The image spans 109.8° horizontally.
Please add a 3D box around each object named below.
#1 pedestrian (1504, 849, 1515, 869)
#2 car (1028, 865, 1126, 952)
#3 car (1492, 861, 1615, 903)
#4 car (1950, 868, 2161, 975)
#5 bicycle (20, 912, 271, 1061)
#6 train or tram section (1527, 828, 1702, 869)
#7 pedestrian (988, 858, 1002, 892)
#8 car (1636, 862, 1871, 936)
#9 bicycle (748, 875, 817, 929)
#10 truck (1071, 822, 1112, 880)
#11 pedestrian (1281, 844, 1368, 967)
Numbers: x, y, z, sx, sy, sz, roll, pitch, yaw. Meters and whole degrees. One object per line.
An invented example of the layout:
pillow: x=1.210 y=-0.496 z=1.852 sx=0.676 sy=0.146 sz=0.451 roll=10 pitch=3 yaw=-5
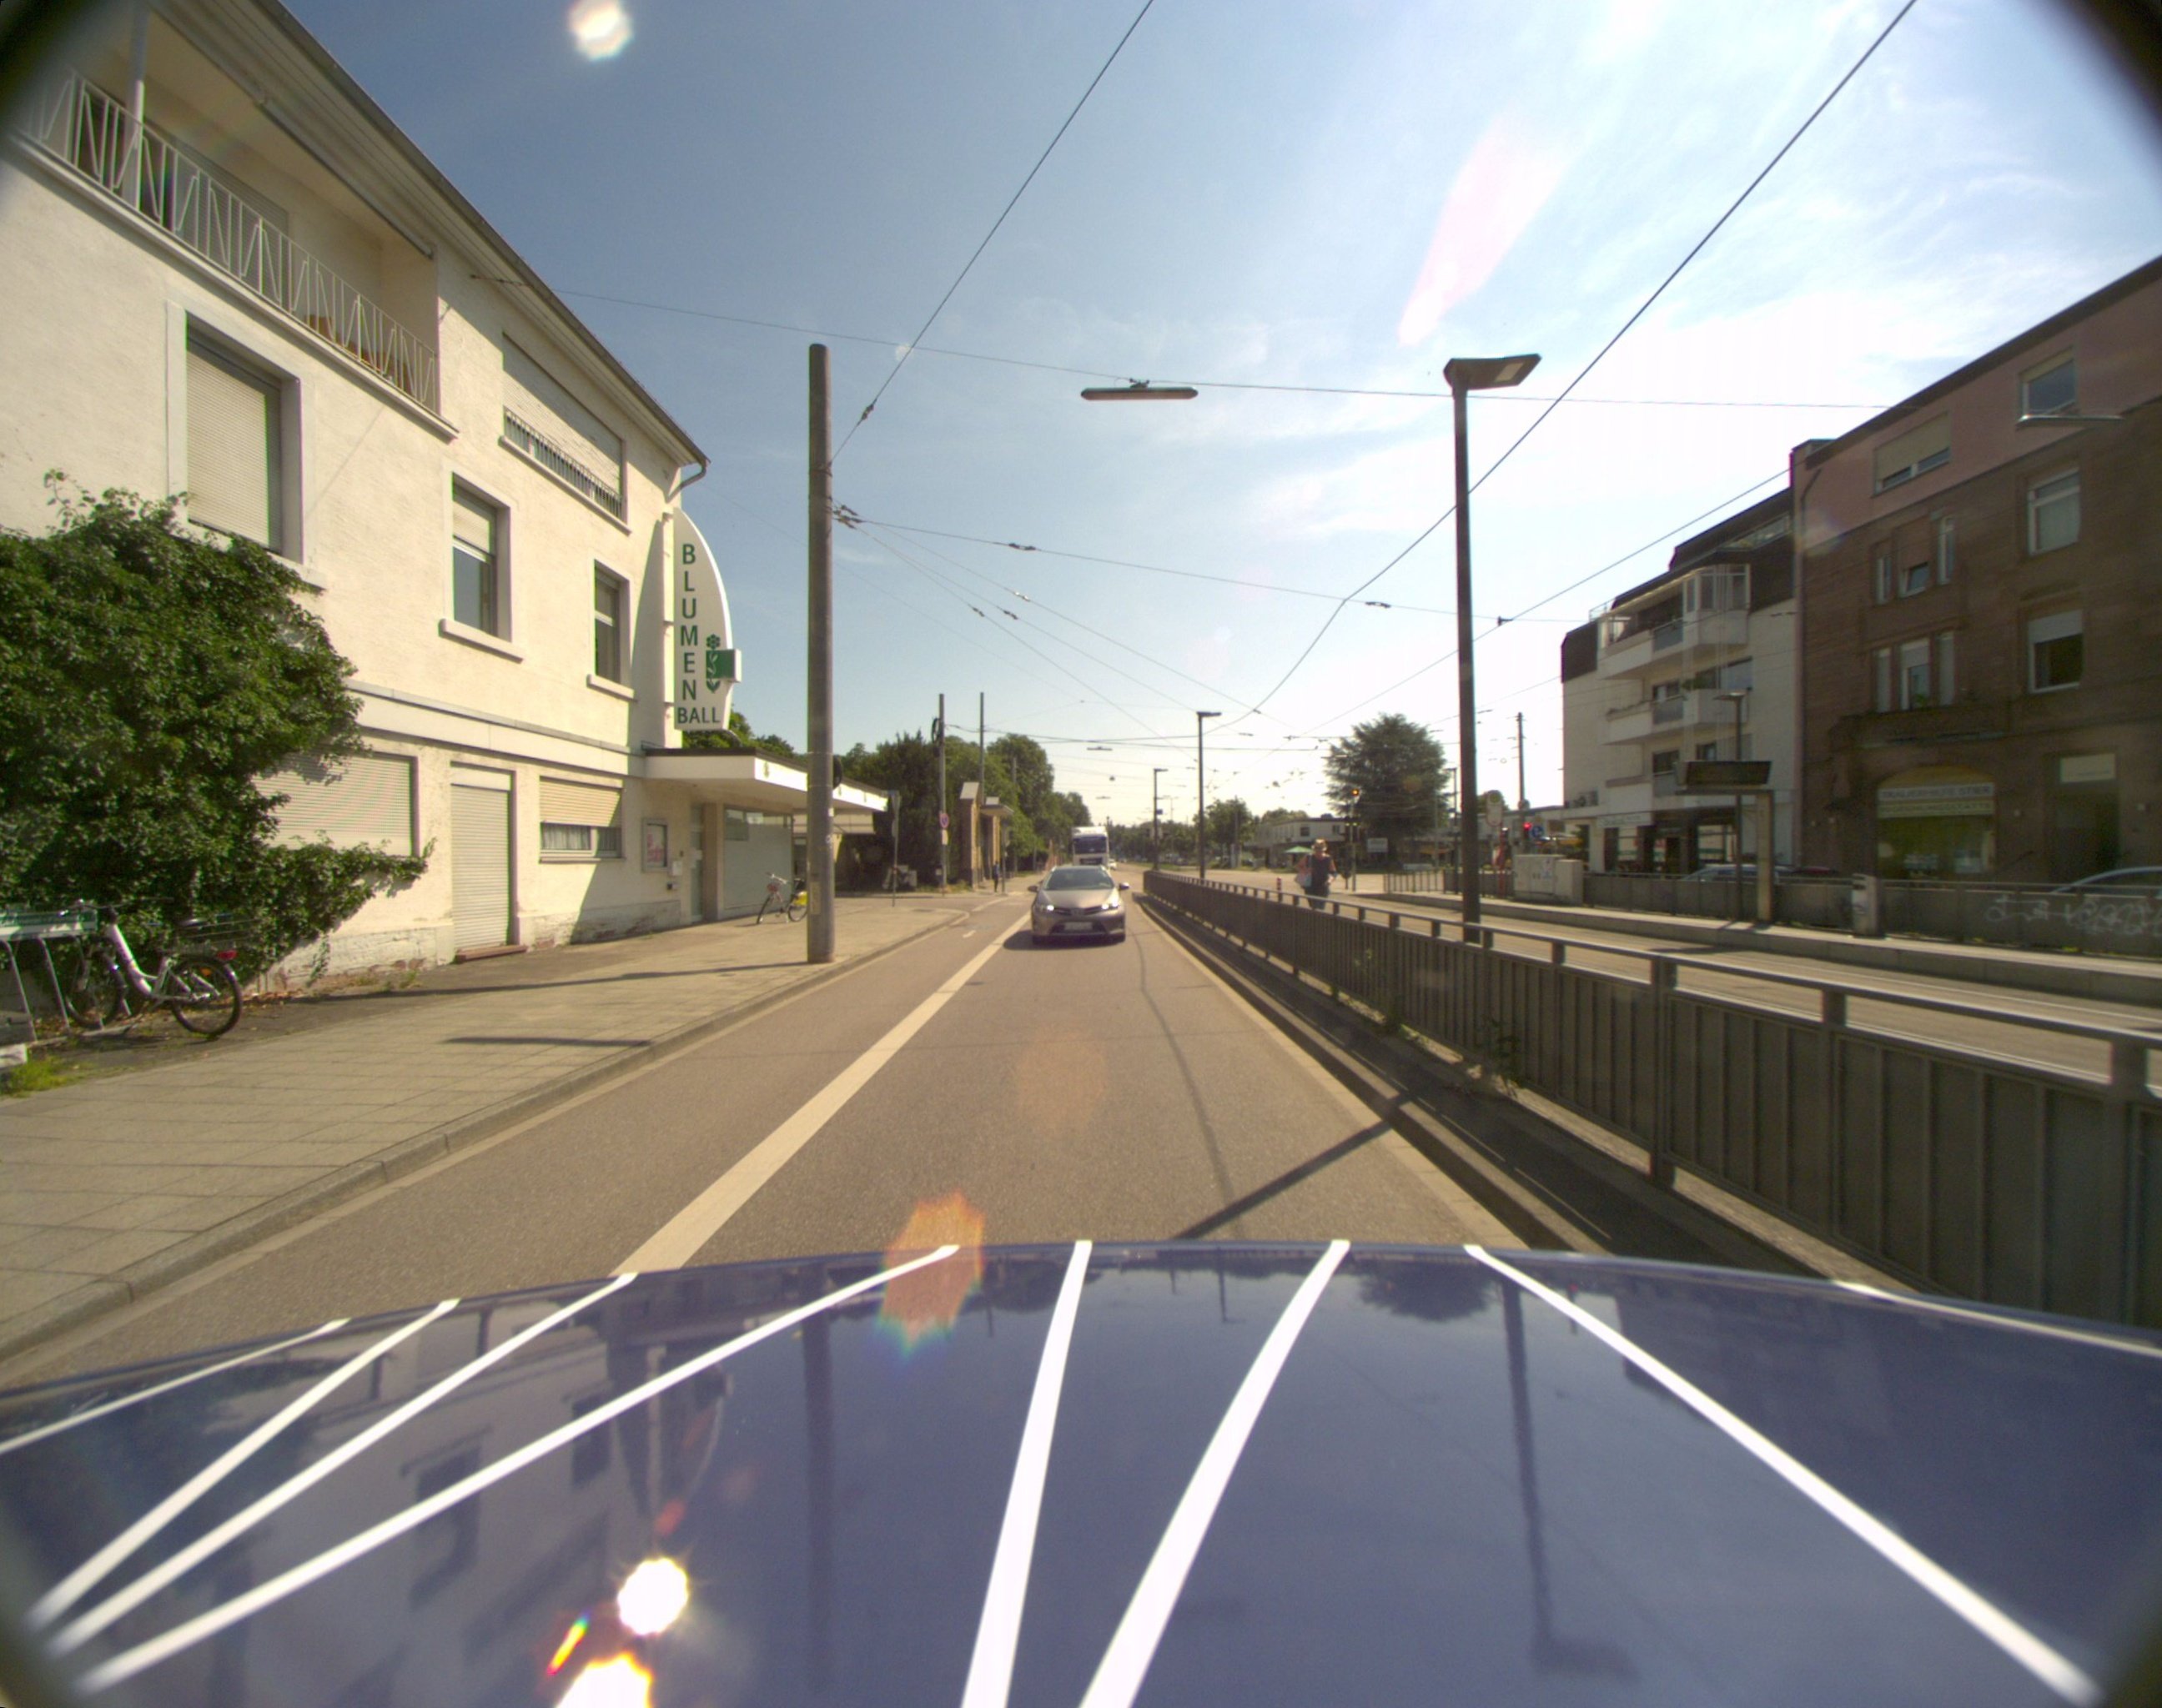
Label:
pedestrian: x=39.489 y=0.467 z=69.970 sx=0.608 sy=1.892 sz=0.606 roll=0 pitch=1 yaw=-24
car: x=-0.053 y=0.988 z=15.594 sx=1.695 sy=1.440 sz=4.481 roll=-1 pitch=0 yaw=1
car: x=16.354 y=0.925 z=26.548 sx=1.716 sy=1.236 sz=4.079 roll=-2 pitch=0 yaw=0
car: x=15.928 y=0.963 z=11.287 sx=1.630 sy=1.460 sz=3.866 roll=-1 pitch=0 yaw=1
bicycle: x=-7.456 y=1.041 z=6.078 sx=1.530 sy=1.051 sz=0.398 roll=3 pitch=1 yaw=2
train or tram section: x=46.979 y=-0.449 z=67.188 sx=13.325 sy=3.460 sz=2.689 roll=0 pitch=1 yaw=3
pedestrian: x=-4.150 y=0.990 z=36.737 sx=0.499 sy=1.616 sz=0.500 roll=2 pitch=1 yaw=8
car: x=16.005 y=0.991 z=18.472 sx=1.716 sy=1.507 sz=4.473 roll=-2 pitch=0 yaw=0
bicycle: x=-6.759 y=1.062 z=17.278 sx=0.511 sy=1.127 sz=1.693 roll=0 pitch=0 yaw=18
truck: x=0.735 y=-0.204 z=53.649 sx=2.657 sy=3.772 sz=7.863 roll=0 pitch=0 yaw=1
pedestrian: x=3.818 y=0.768 z=12.028 sx=0.983 sy=1.848 sz=1.237 roll=0 pitch=0 yaw=1
